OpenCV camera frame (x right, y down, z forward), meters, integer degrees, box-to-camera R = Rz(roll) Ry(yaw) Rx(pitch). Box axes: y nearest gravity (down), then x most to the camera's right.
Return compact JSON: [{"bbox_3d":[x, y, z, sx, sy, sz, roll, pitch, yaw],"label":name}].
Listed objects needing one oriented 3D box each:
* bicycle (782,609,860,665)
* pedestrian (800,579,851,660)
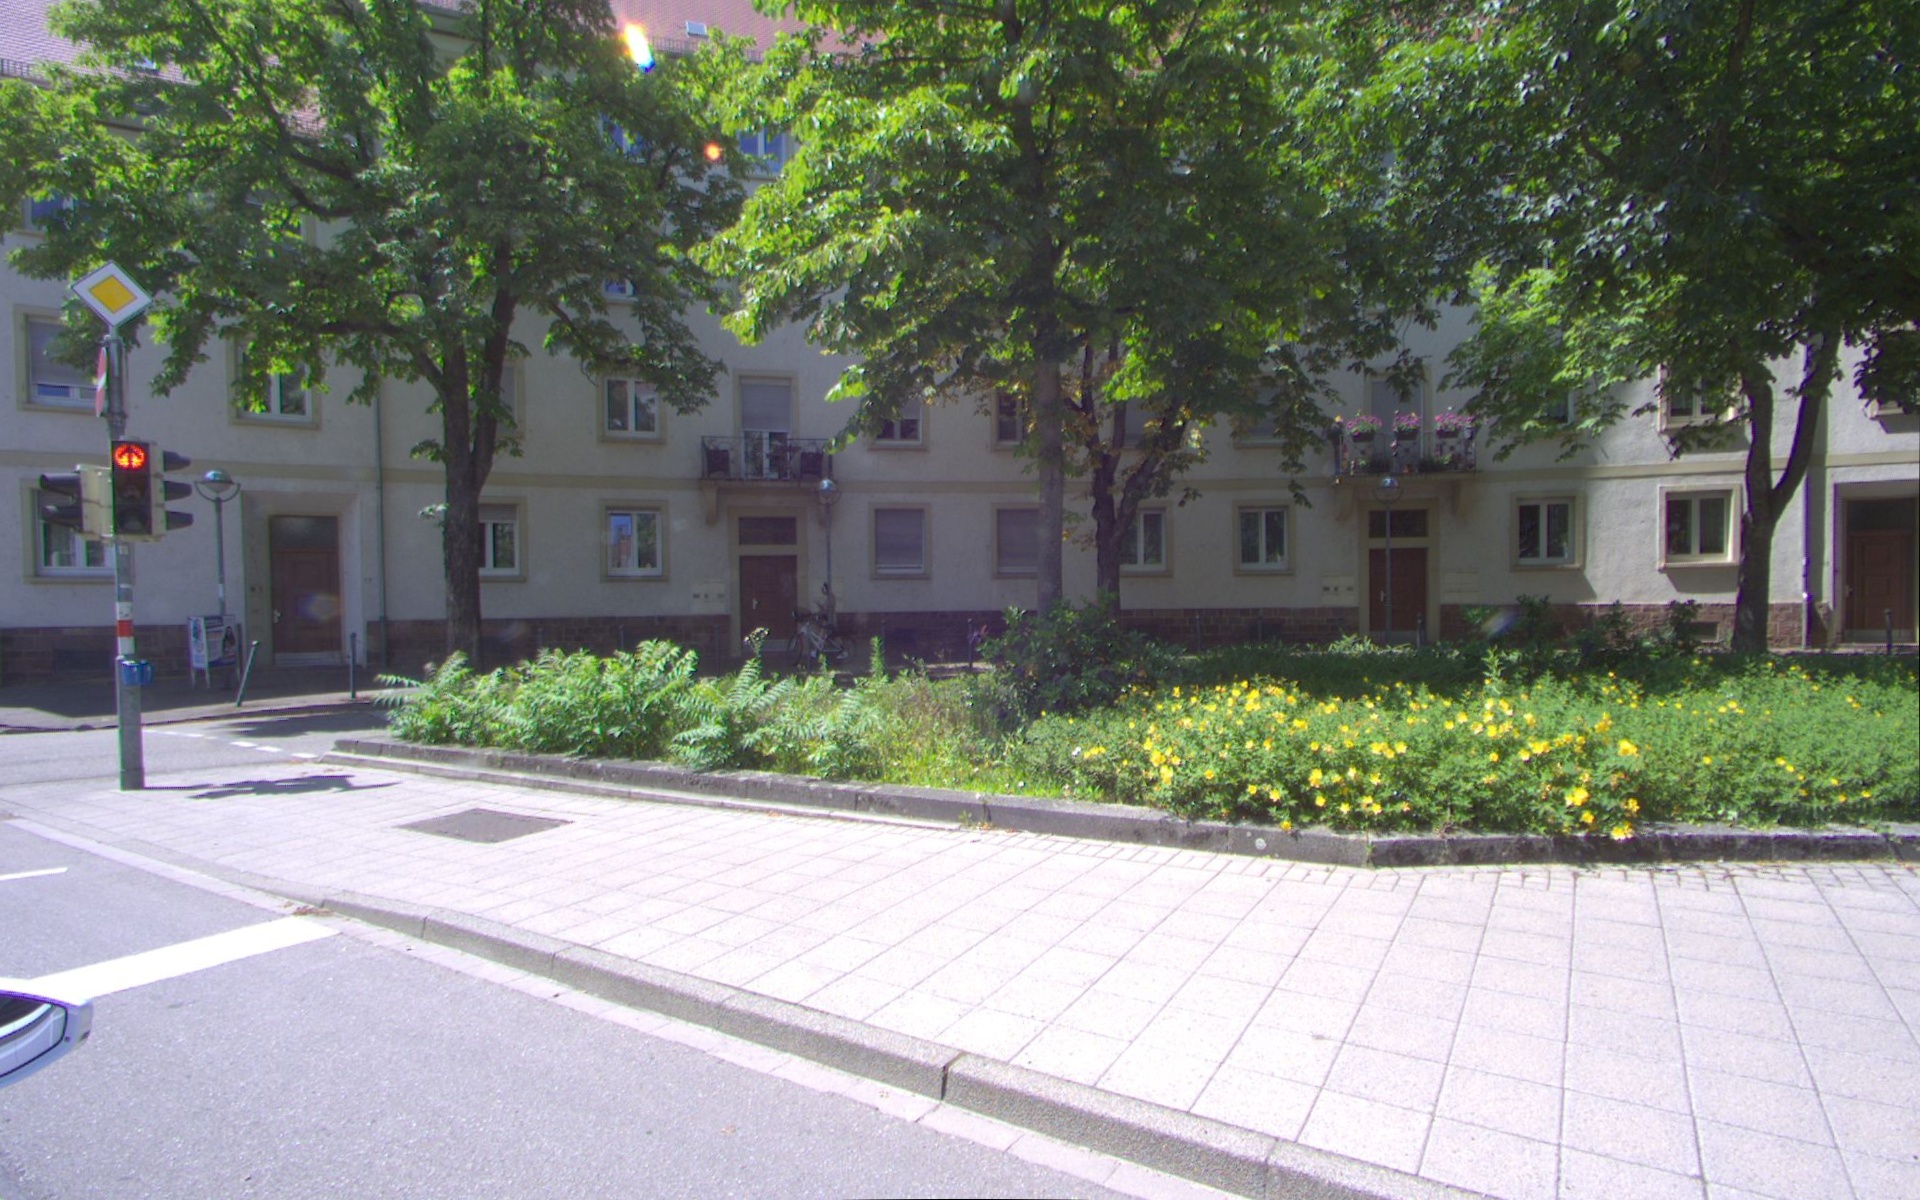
[{"bbox_3d":[-2.882,0.759,20.871,1.575,1.119,0.525,-1,1,-4],"label":"bicycle"},{"bbox_3d":[-3.019,0.430,22.481,1.038,1.715,0.651,-2,7,-13],"label":"pedestrian"}]
